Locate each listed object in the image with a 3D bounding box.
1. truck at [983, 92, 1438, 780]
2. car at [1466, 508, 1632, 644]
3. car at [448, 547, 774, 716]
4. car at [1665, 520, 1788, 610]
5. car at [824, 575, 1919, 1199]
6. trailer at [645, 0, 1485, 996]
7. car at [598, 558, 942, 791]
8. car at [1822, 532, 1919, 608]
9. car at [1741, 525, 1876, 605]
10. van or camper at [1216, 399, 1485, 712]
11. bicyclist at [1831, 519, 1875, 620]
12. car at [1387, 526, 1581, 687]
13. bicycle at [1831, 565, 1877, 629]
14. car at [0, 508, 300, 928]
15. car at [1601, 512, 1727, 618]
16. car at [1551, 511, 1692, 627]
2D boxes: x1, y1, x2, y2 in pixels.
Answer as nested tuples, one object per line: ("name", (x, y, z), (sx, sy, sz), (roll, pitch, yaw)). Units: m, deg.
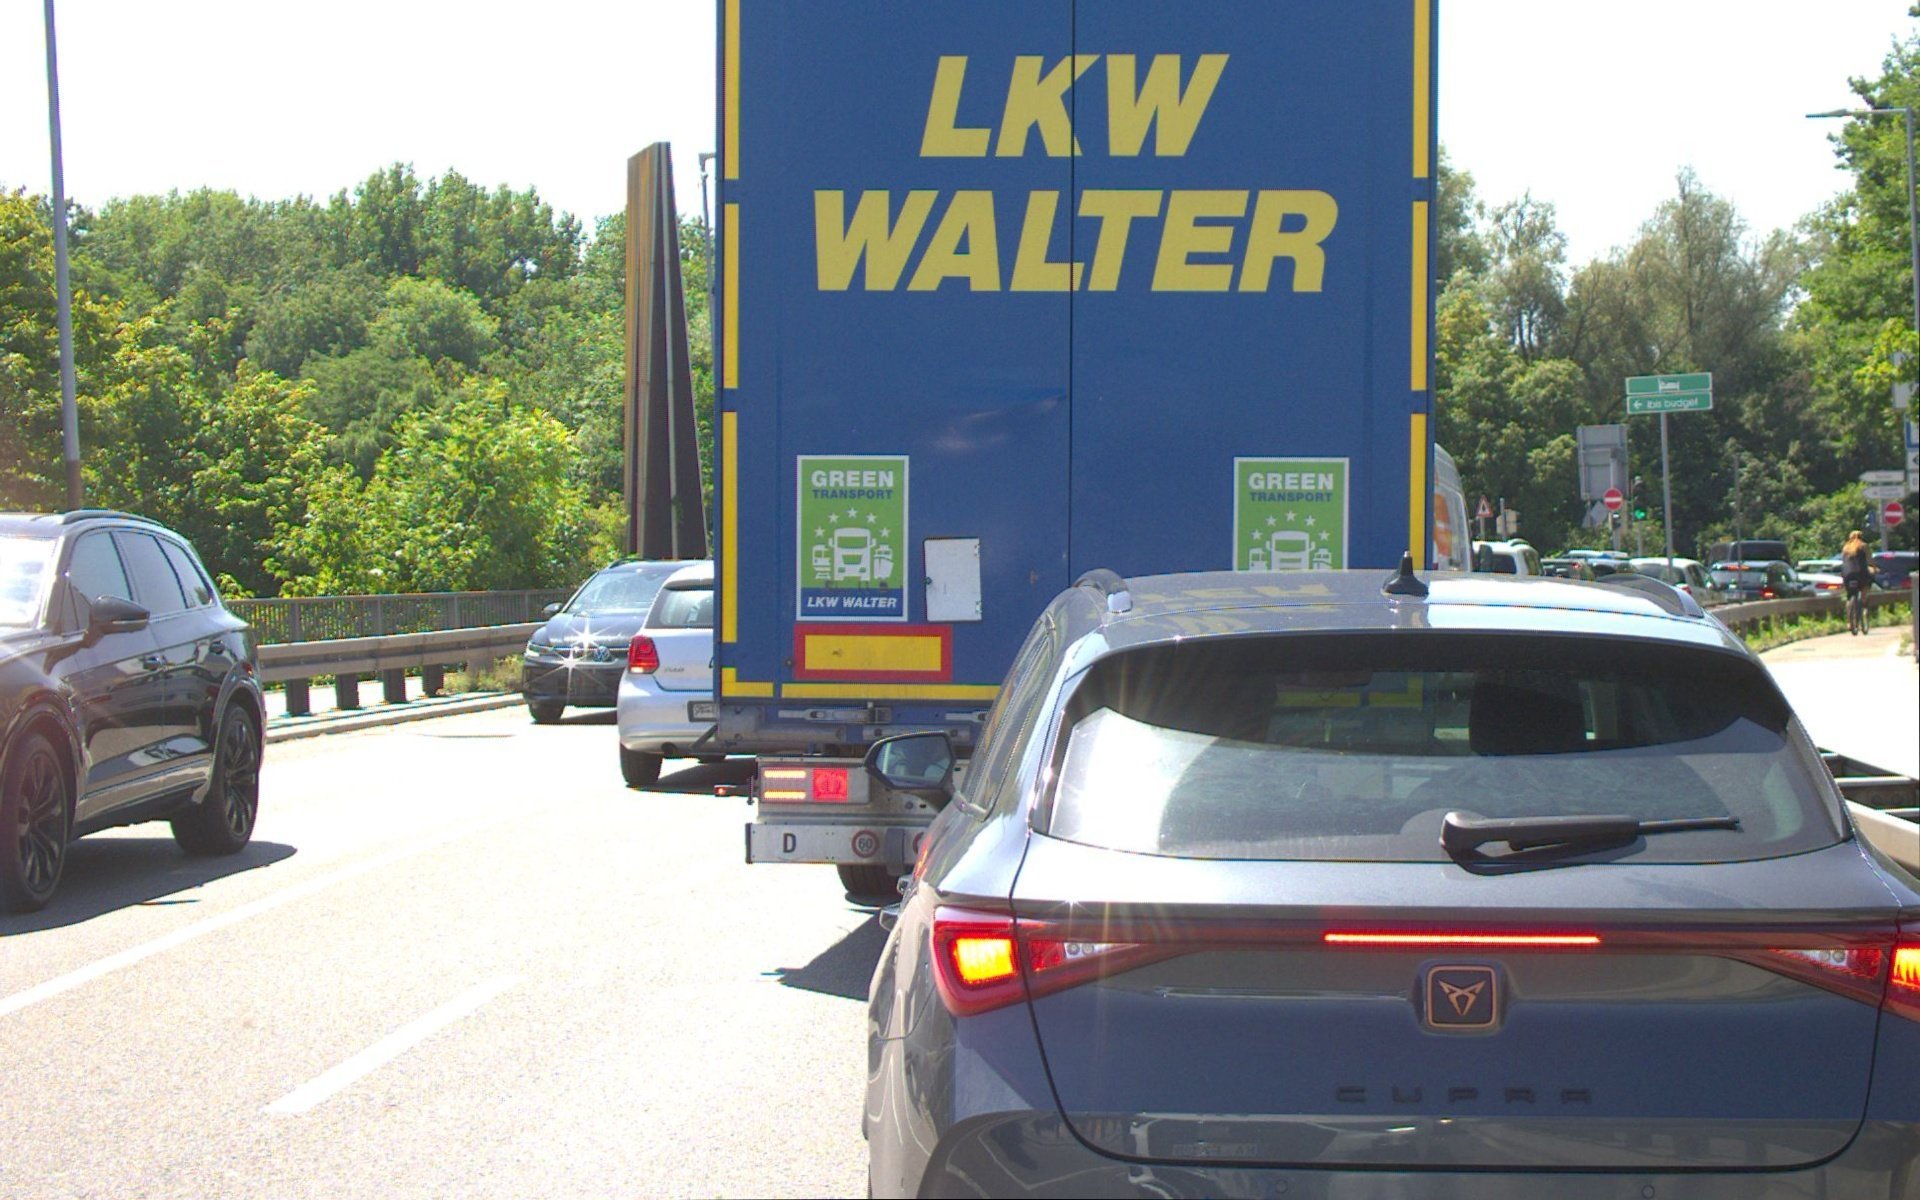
("truck", (2.058, -1.120, 25.495), (2.905, 4.403, 6.554), (0, 1, 8))
("car", (8.225, -0.362, 47.799), (1.722, 1.796, 3.997), (0, 1, 18))
("car", (-3.201, 0.243, 32.451), (1.711, 1.464, 4.457), (0, 1, 13))
("car", (15.333, -0.687, 68.643), (1.687, 1.754, 3.995), (0, 0, 23))
("car", (0.648, 0.695, 6.482), (1.677, 1.451, 3.959), (0, 1, 0))
("trailer", (1.103, -0.975, 18.069), (2.905, 4.403, 12.430), (0, 1, 7))
("car", (-1.202, 0.444, 23.415), (1.677, 1.406, 3.974), (-1, 1, 7))
("car", (21.631, -0.697, 80.873), (1.688, 1.754, 3.994), (0, 0, 28))
("car", (18.524, -0.748, 74.969), (1.996, 1.570, 3.994), (2, 0, 26))
("van or camper", (3.990, -0.460, 34.099), (2.155, 2.806, 6.384), (0, 1, 11))
("bicyclist", (15.062, -0.514, 57.989), (0.578, 1.677, 0.729), (-3, 0, 9))
("car", (6.405, 0.030, 41.737), (1.722, 1.837, 3.997), (0, 2, 18))
("bicycle", (15.071, -0.058, 57.973), (0.582, 1.032, 1.484), (-3, 0, 9))
("car", (-4.627, 0.447, 15.641), (1.966, 1.667, 4.613), (-1, 1, 5))
("car", (12.743, -0.655, 62.091), (1.722, 1.837, 3.996), (0, 1, 19))
("car", (10.909, -0.530, 56.529), (1.722, 1.837, 3.996), (0, 1, 19))
